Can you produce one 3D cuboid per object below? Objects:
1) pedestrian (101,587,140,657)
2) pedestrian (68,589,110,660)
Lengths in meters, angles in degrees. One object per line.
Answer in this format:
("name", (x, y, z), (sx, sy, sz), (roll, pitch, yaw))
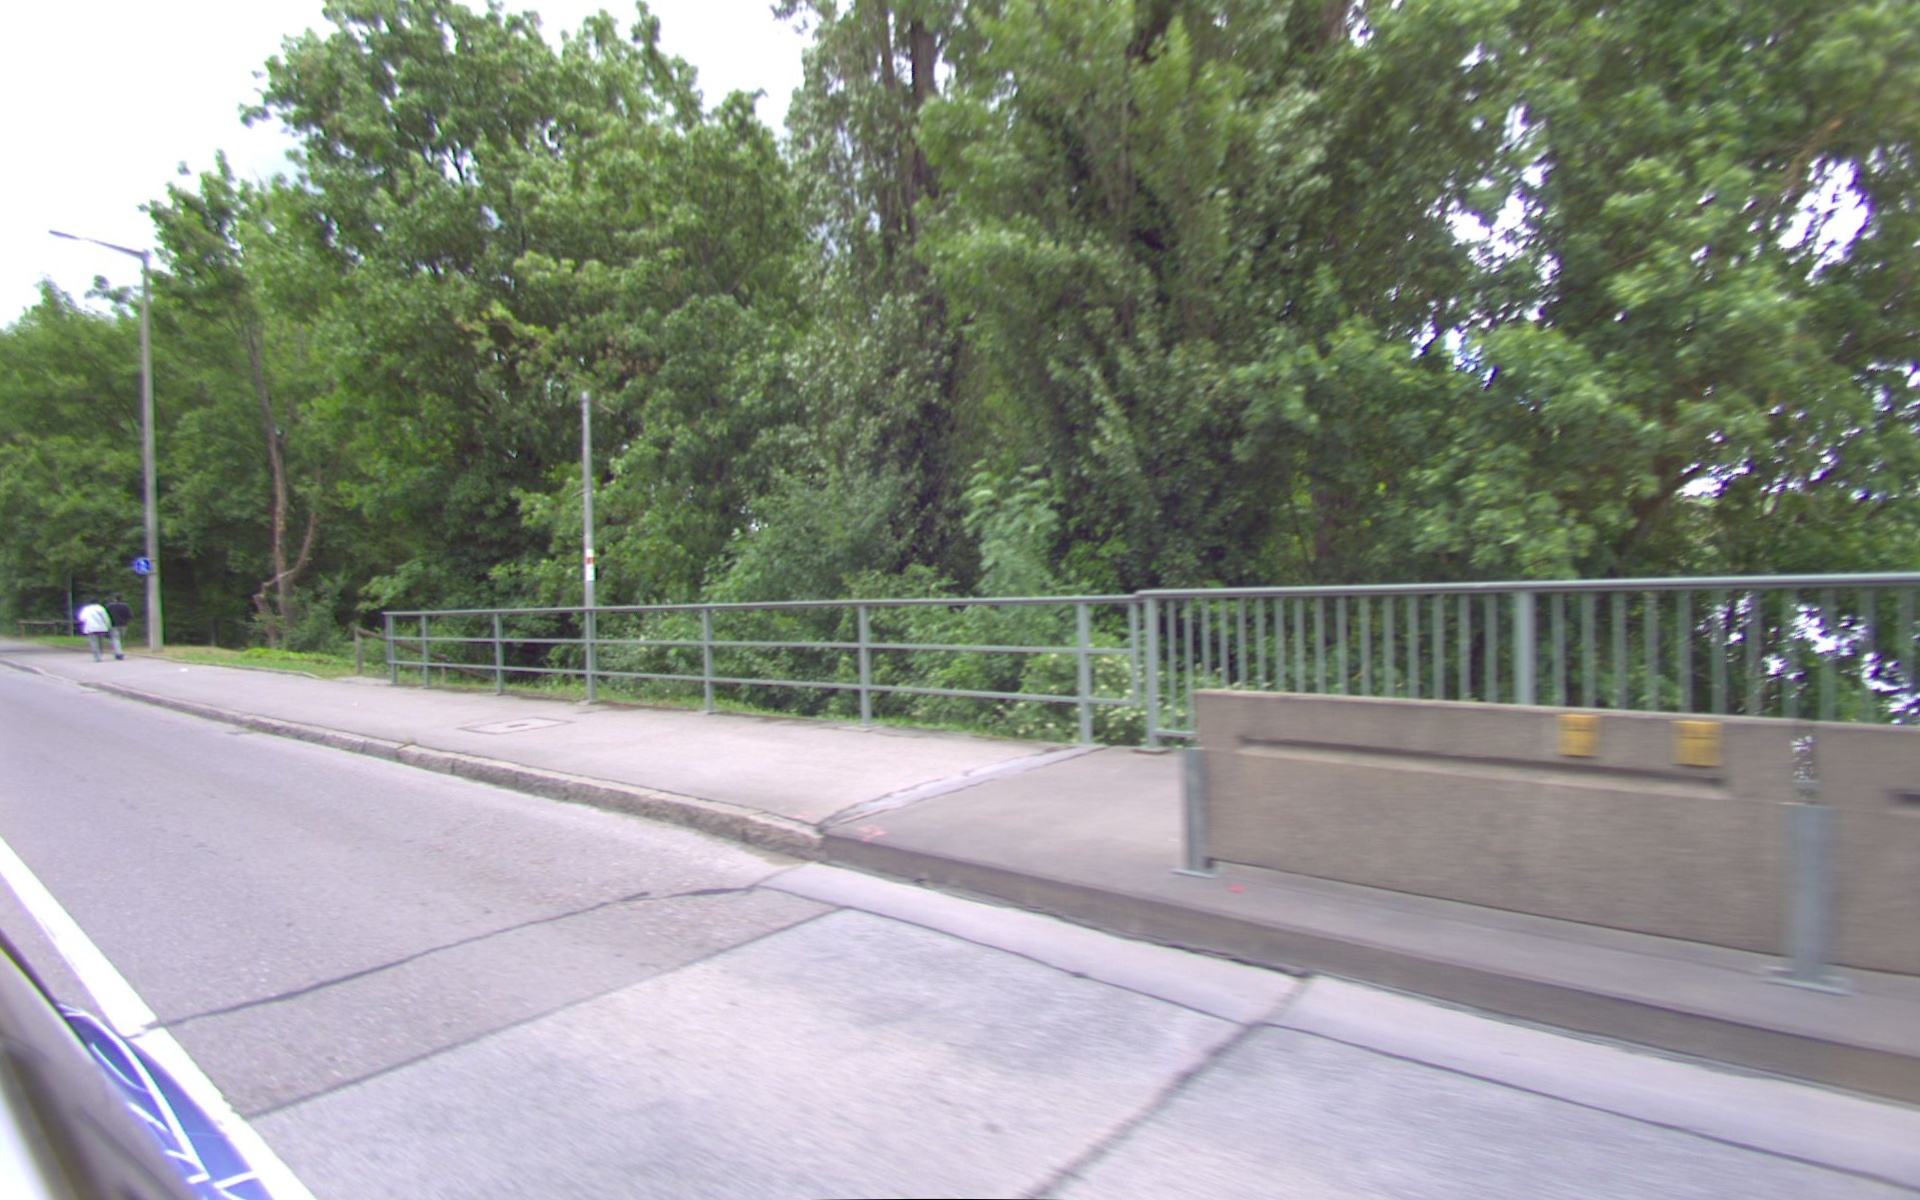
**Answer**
("pedestrian", (-22.347, 0.585, 26.946), (0.821, 1.816, 0.581), (-1, 2, 39))
("pedestrian", (-22.710, 0.630, 26.377), (0.857, 1.778, 0.546), (-1, 4, 39))
